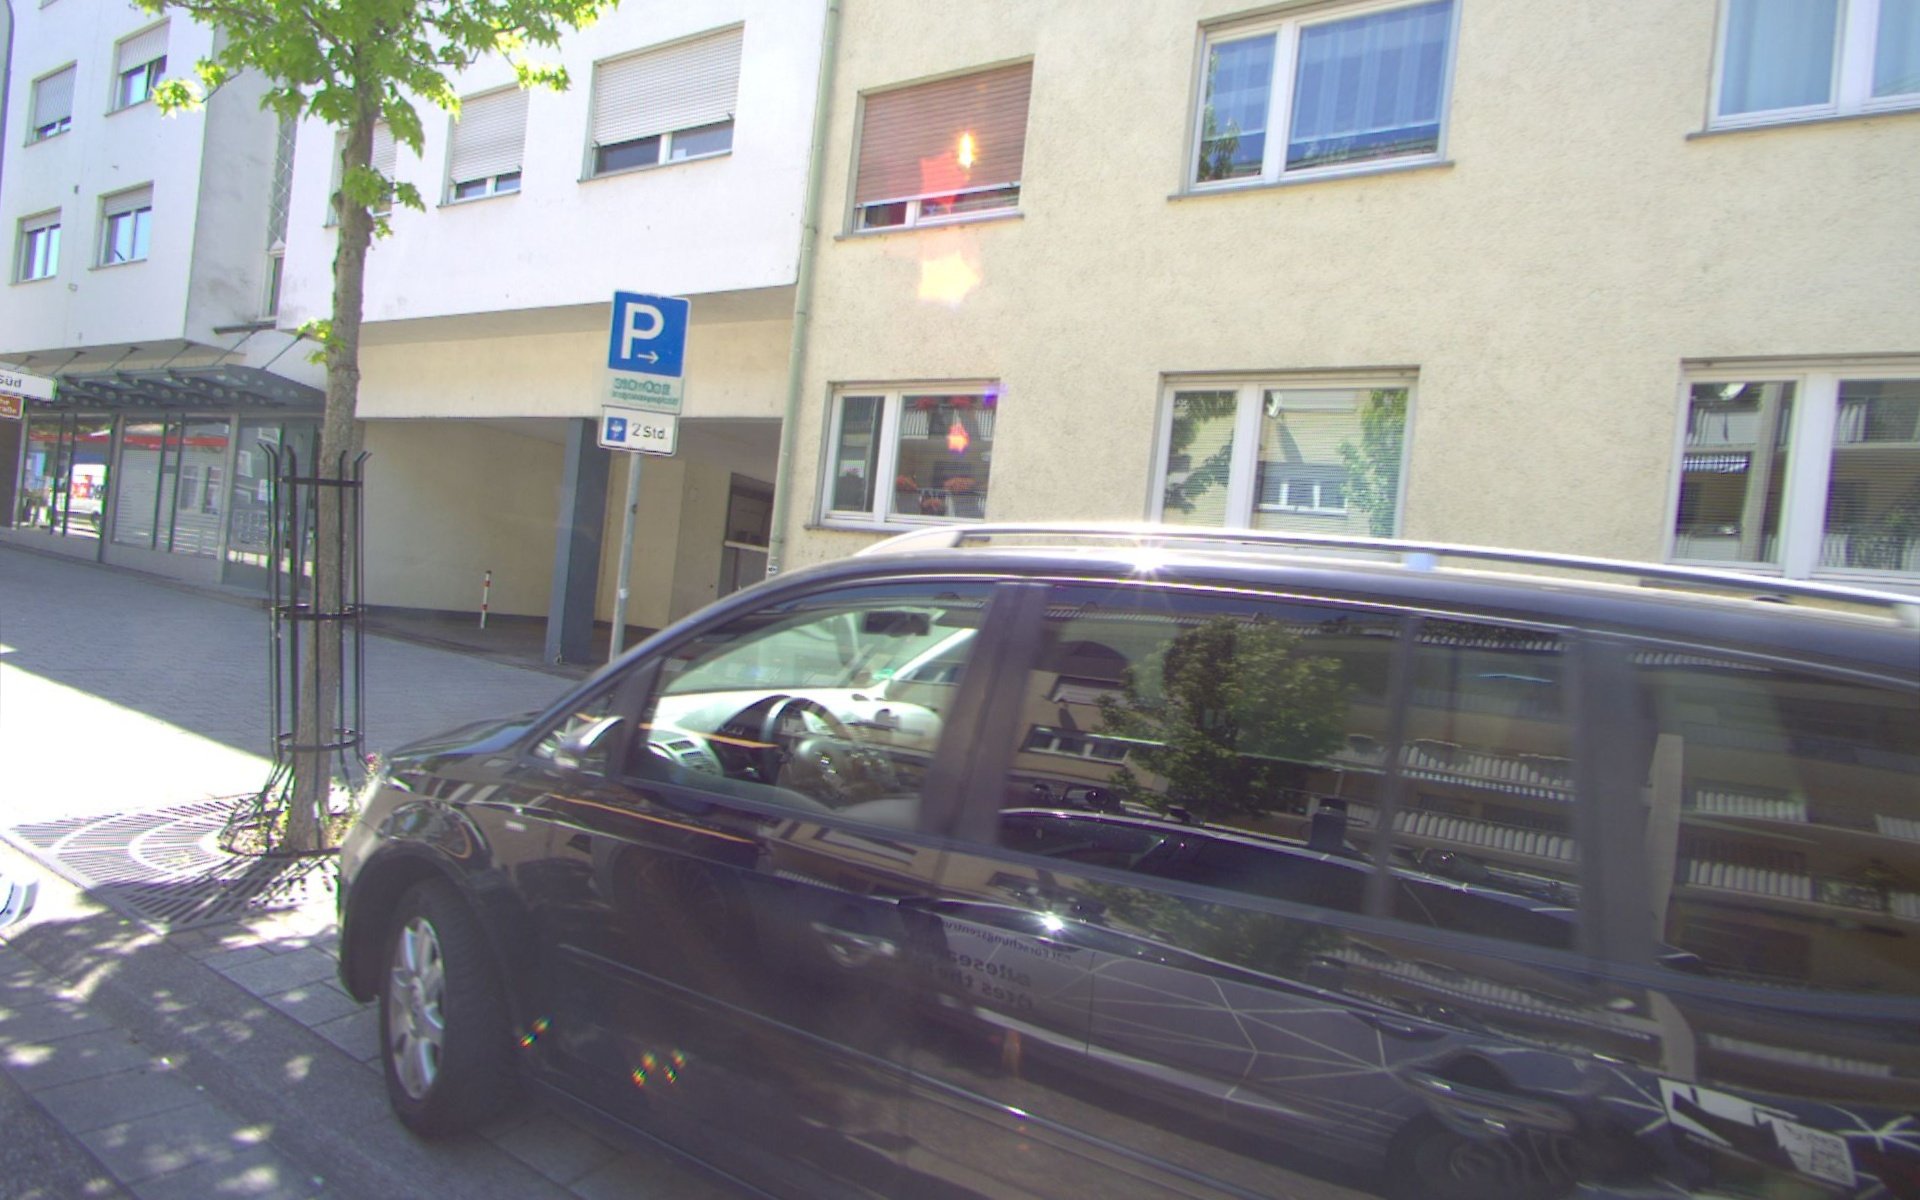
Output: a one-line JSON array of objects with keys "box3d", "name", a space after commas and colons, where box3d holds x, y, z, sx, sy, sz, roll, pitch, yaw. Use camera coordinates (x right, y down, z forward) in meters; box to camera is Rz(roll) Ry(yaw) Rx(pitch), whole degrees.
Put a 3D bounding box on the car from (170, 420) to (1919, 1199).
[{"box3d": [0.234, 0.610, 2.549, 4.459, 1.696, 1.858, 7, 2, 29], "name": "car"}]
